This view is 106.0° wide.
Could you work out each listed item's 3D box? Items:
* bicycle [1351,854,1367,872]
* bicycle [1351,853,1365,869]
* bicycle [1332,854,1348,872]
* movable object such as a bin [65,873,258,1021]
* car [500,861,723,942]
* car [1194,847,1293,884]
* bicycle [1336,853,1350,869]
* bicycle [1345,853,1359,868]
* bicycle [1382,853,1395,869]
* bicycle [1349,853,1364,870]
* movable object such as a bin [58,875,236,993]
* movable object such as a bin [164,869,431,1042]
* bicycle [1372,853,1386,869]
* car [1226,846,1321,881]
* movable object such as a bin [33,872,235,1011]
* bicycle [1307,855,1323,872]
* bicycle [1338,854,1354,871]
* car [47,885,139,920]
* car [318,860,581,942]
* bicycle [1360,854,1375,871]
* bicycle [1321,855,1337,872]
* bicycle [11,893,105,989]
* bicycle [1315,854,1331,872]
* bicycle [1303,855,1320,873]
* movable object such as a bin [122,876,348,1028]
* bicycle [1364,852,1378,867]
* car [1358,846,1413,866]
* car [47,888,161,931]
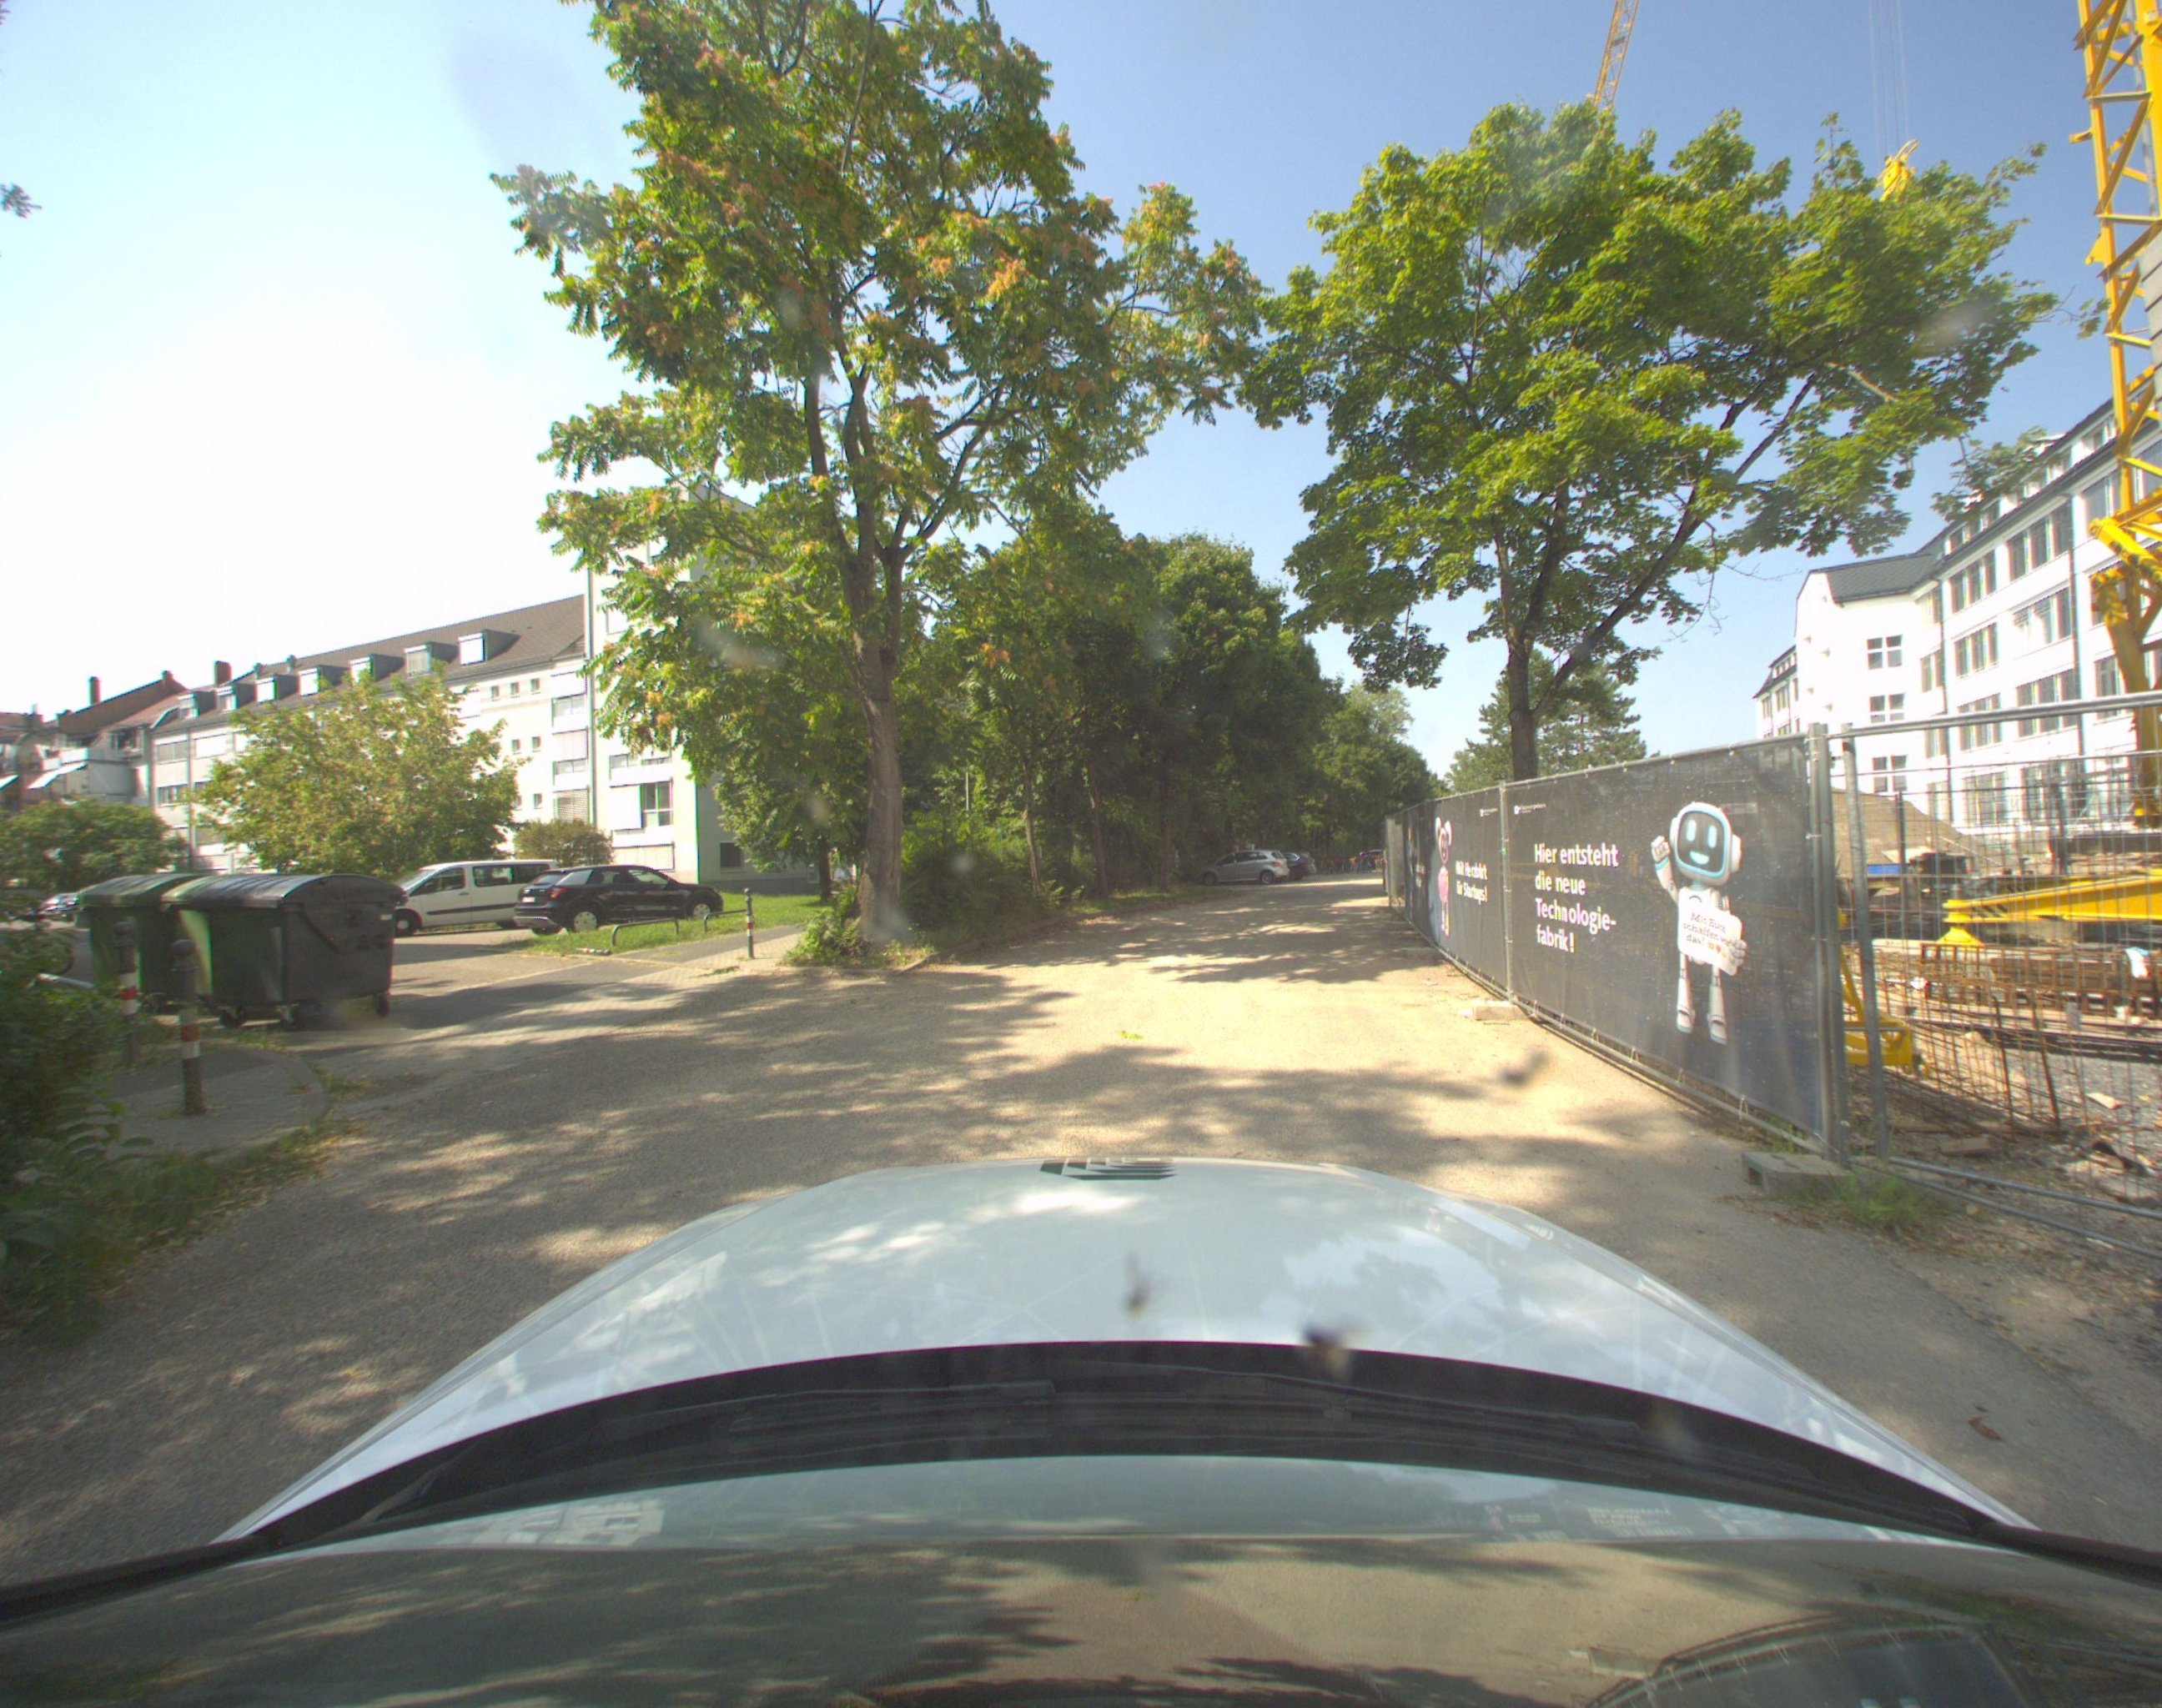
[{"bbox_3d":[17.258,0.549,50.603,0.494,1.107,1.812,-2,0,33],"label":"bicycle"},{"bbox_3d":[19.944,0.514,58.617,0.494,1.107,1.812,-2,0,33],"label":"bicycle"},{"bbox_3d":[16.427,0.568,51.683,0.494,1.107,1.812,-2,0,33],"label":"bicycle"},{"bbox_3d":[-10.152,0.975,9.024,1.088,1.482,1.107,-1,-1,22],"label":"movable object such as a bin"},{"bbox_3d":[-10.308,0.978,18.144,1.685,1.528,3.937,-2,-1,34],"label":"car"},{"bbox_3d":[7.602,0.541,38.102,4.108,1.612,2.012,-1,0,29],"label":"car"},{"bbox_3d":[19.162,0.521,59.533,0.494,1.107,1.812,-2,0,33],"label":"bicycle"},{"bbox_3d":[20.543,0.491,61.745,0.494,1.107,1.812,-2,0,33],"label":"bicycle"},{"bbox_3d":[21.949,0.463,58.150,0.494,1.107,1.812,-2,0,33],"label":"bicycle"},{"bbox_3d":[19.172,0.524,56.636,0.494,1.107,1.812,-2,0,33],"label":"bicycle"},{"bbox_3d":[-12.601,1.035,11.025,1.192,1.444,1.256,-1,-1,22],"label":"movable object such as a bin"},{"bbox_3d":[-7.570,0.911,7.954,1.359,1.493,1.341,-1,0,14],"label":"movable object such as a bin"},{"bbox_3d":[20.665,0.491,56.462,0.494,1.107,1.812,-2,0,33],"label":"bicycle"},{"bbox_3d":[9.440,0.482,40.051,4.108,1.612,2.012,-1,0,29],"label":"car"},{"bbox_3d":[-11.337,0.988,9.788,1.192,1.495,1.256,-1,-1,22],"label":"movable object such as a bin"},{"bbox_3d":[15.705,0.617,54.630,0.494,1.107,1.812,-2,0,33],"label":"bicycle"},{"bbox_3d":[17.601,0.569,54.069,0.494,1.107,1.812,-2,0,33],"label":"bicycle"},{"bbox_3d":[-48.326,2.374,39.832,3.951,1.510,1.810,-3,-1,23],"label":"car"},{"bbox_3d":[-17.036,1.173,22.298,2.470,1.881,5.117,-2,0,31],"label":"car"},{"bbox_3d":[18.618,0.540,52.911,0.494,1.107,1.812,-2,0,33],"label":"bicycle"},{"bbox_3d":[15.958,0.608,52.435,0.494,1.107,1.812,-2,0,33],"label":"bicycle"},{"bbox_3d":[-15.318,1.272,12.181,2.145,1.303,0.613,-3,-1,32],"label":"bicycle"},{"bbox_3d":[16.182,0.593,54.385,0.494,1.107,1.812,-2,0,33],"label":"bicycle"},{"bbox_3d":[14.885,0.623,52.649,0.494,1.107,1.812,-2,0,33],"label":"bicycle"},{"bbox_3d":[-8.968,0.970,8.678,1.316,1.432,1.256,-1,-1,22],"label":"movable object such as a bin"},{"bbox_3d":[21.890,0.430,61.468,0.494,1.107,1.812,-2,0,33],"label":"bicycle"},{"bbox_3d":[24.779,0.186,66.335,3.950,1.510,1.811,-1,0,27],"label":"car"},{"bbox_3d":[-38.431,2.189,32.027,3.951,1.510,1.810,-3,-1,23],"label":"car"}]
